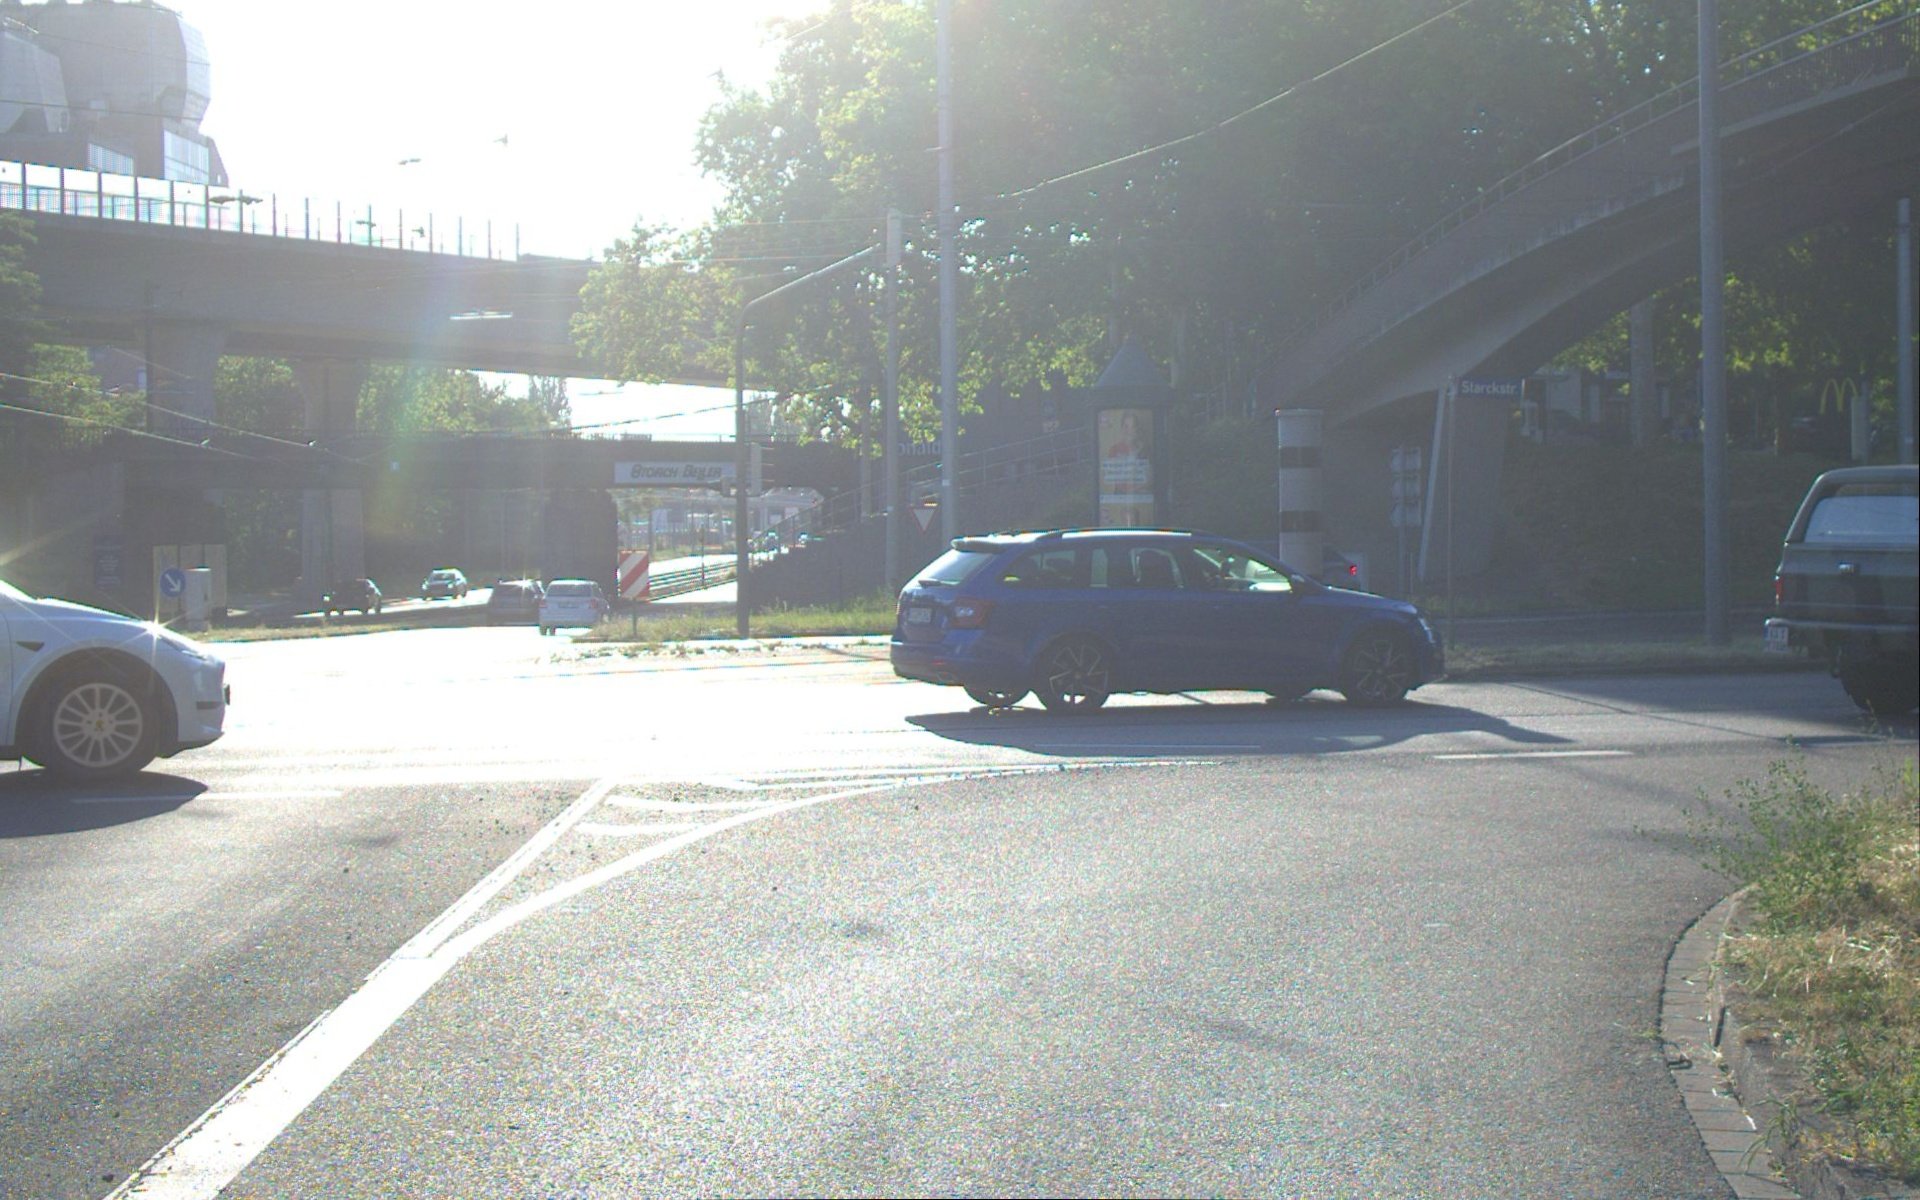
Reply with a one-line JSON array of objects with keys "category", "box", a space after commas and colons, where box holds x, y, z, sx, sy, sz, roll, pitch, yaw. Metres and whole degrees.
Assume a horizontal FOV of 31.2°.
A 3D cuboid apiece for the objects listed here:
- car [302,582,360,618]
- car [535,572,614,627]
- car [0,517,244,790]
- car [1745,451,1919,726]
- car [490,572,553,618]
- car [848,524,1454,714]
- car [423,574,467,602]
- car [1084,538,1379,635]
[{"category": "car", "box": [-26.202, -0.007, 143.316, 1.606, 1.414, 4.008, 0, 1, 1]}, {"category": "car", "box": [-10.236, -0.036, 91.570, 1.665, 1.400, 4.197, 0, 1, 0]}, {"category": "car", "box": [-6.737, 0.295, 20.158, 4.750, 1.569, 1.694, 0, 1, -21]}, {"category": "car", "box": [8.767, -0.104, 26.669, 4.926, 1.984, 2.038, 0, 1, -22]}, {"category": "car", "box": [-14.164, -0.185, 111.102, 1.665, 1.400, 4.445, 0, 1, -3]}, {"category": "car", "box": [1.550, 0.126, 27.882, 4.609, 1.454, 1.694, 0, 1, -21]}, {"category": "car", "box": [-26.737, -0.628, 178.399, 1.606, 1.414, 4.008, 0, 1, 1]}, {"category": "car", "box": [4.506, -0.222, 57.181, 4.574, 1.569, 1.694, 0, 1, -17]}]
